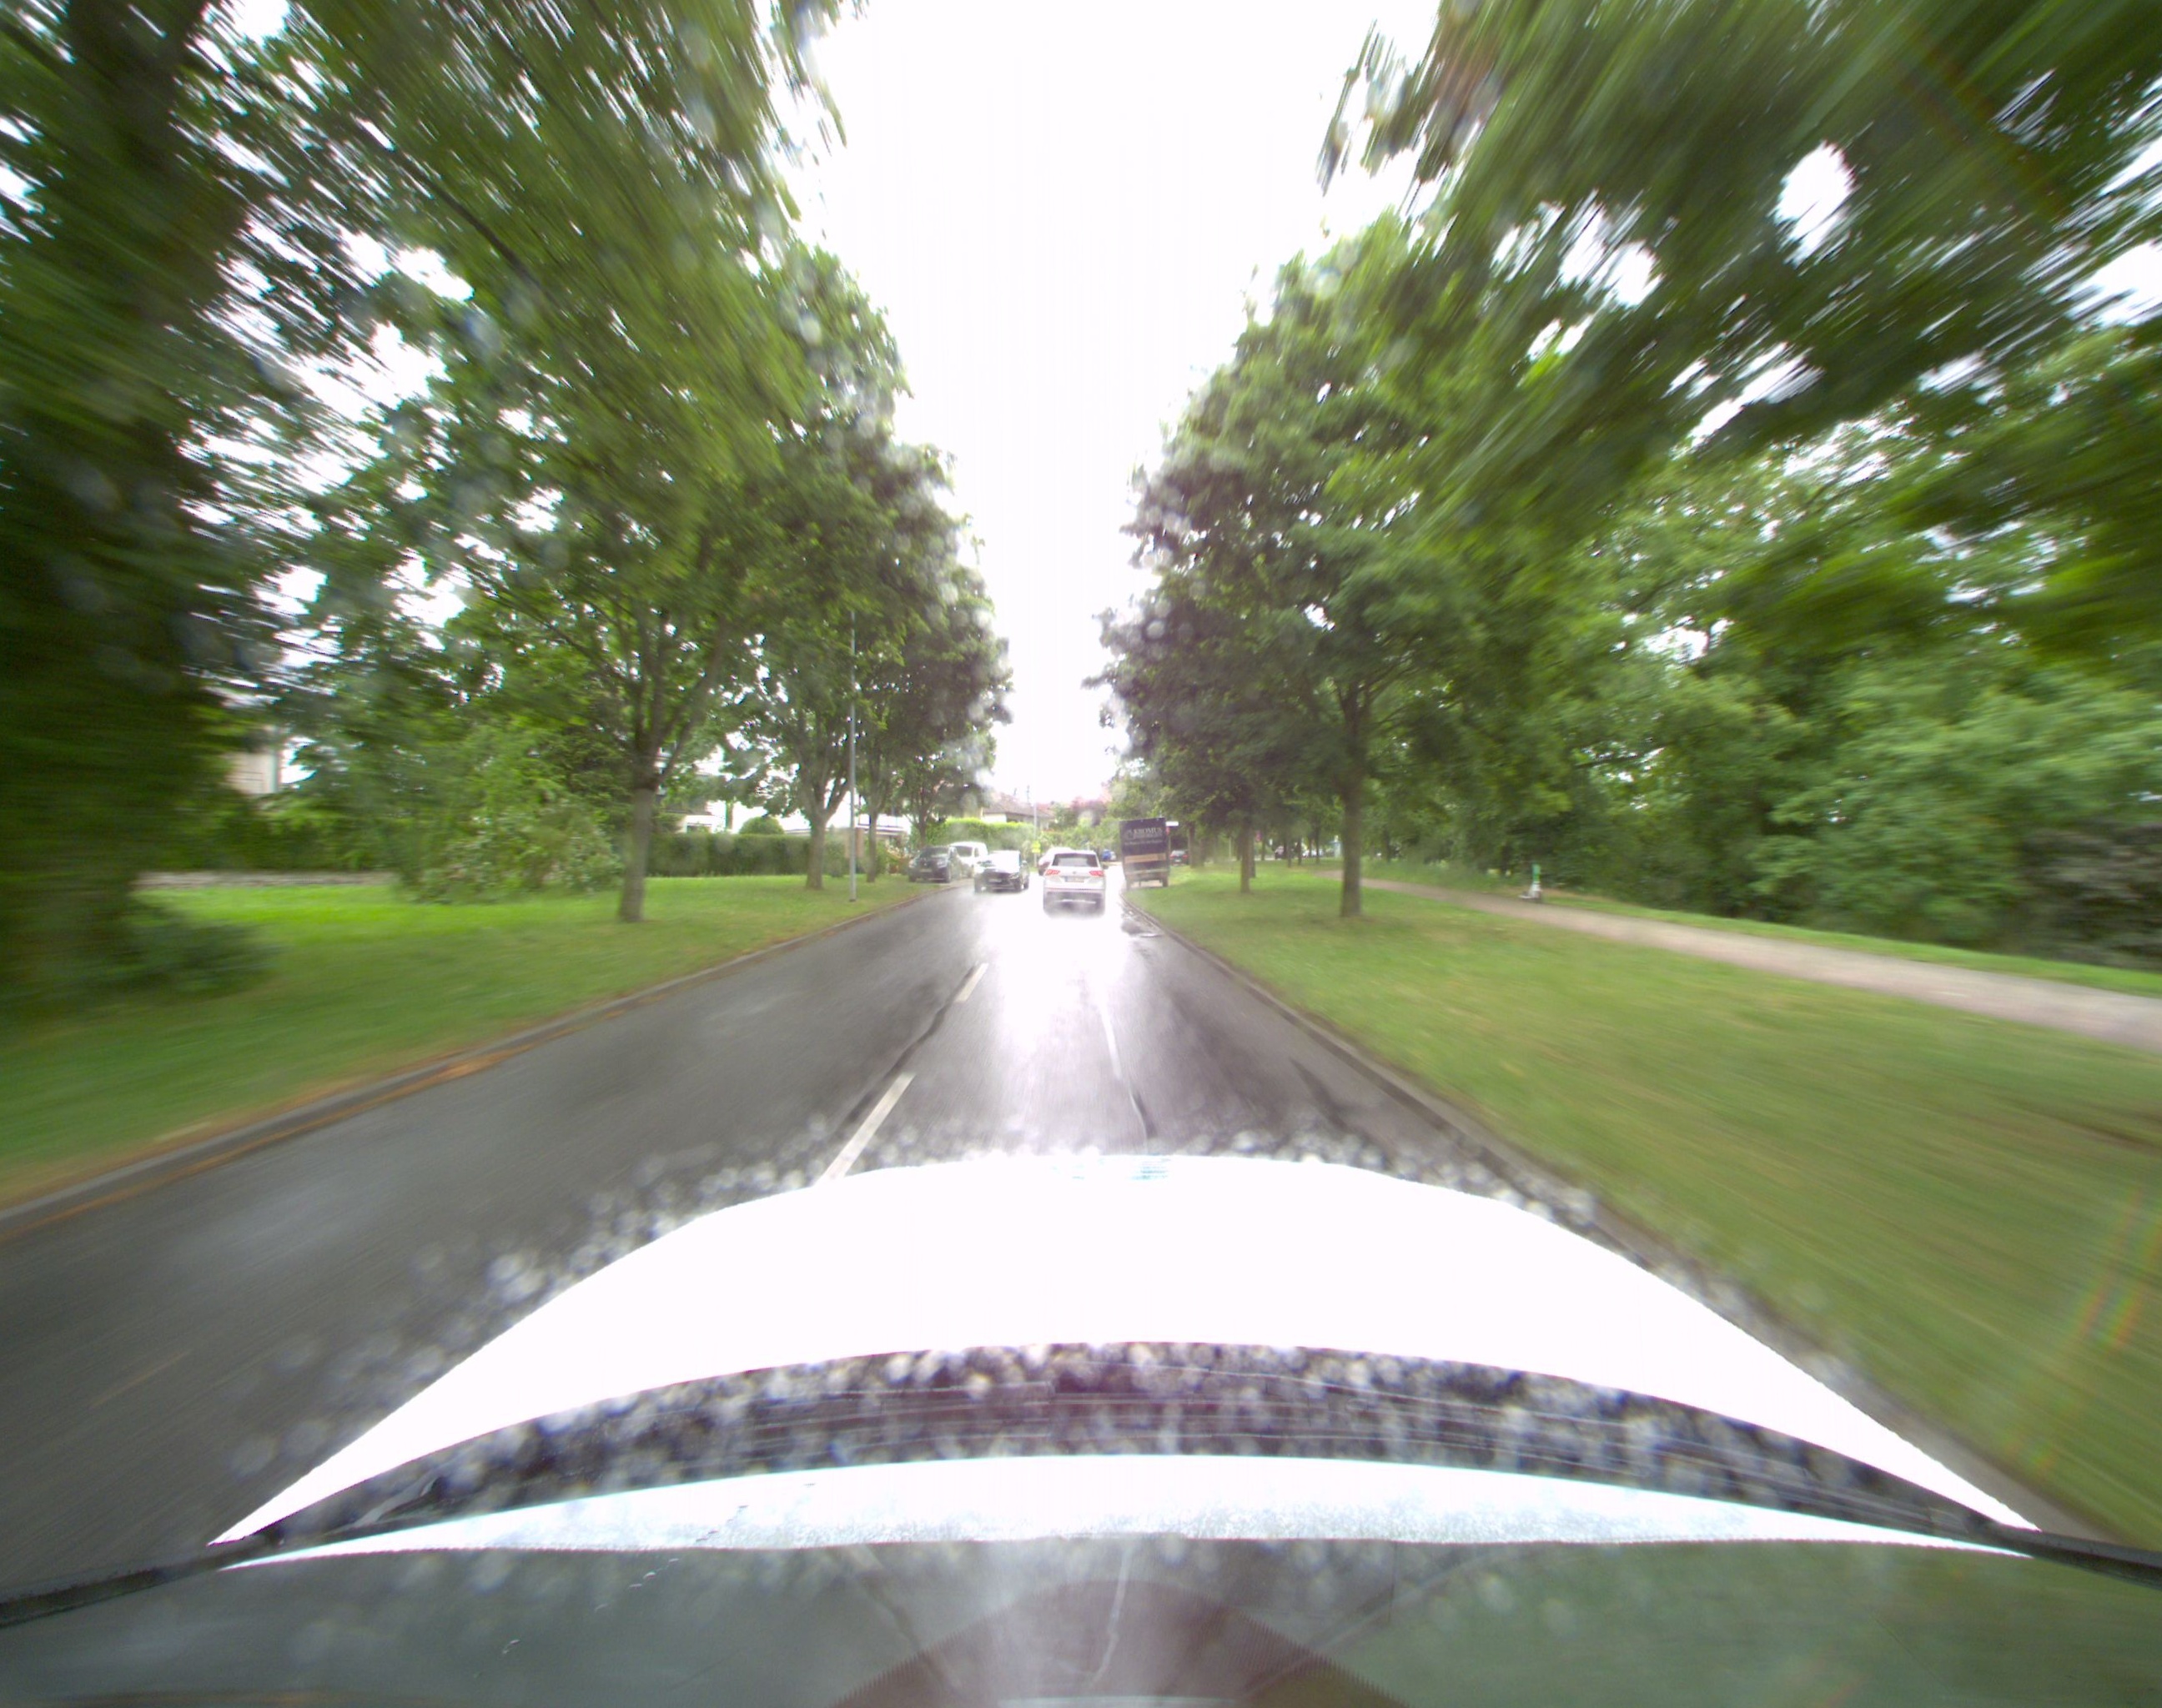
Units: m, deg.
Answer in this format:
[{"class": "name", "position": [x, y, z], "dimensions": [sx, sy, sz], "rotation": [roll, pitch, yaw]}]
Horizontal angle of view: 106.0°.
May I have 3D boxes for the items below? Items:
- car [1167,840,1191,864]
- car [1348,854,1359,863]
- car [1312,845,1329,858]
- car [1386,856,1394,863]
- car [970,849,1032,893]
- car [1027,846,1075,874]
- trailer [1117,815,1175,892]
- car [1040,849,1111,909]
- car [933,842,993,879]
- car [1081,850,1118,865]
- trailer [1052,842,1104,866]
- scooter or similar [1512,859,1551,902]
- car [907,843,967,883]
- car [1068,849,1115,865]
[{"class": "car", "position": [8.831, -0.191, 73.072], "dimensions": [1.889, 2.014, 3.955], "rotation": [2, -1, 10]}, {"class": "car", "position": [56.360, 0.918, 168.135], "dimensions": [1.977, 1.807, 4.019], "rotation": [2, -1, 20]}, {"class": "car", "position": [37.423, -0.388, 127.330], "dimensions": [1.976, 1.804, 4.022], "rotation": [2, -1, 24]}, {"class": "car", "position": [69.359, 1.298, 182.851], "dimensions": [1.410, 1.570, 3.445], "rotation": [2, -1, 17]}, {"class": "car", "position": [-3.116, 0.619, 32.563], "dimensions": [1.782, 1.537, 4.096], "rotation": [2, 1, 4]}, {"class": "car", "position": [-1.818, 0.339, 50.715], "dimensions": [1.839, 1.691, 4.420], "rotation": [1, 0, 13]}, {"class": "trailer", "position": [2.638, -0.009, 34.128], "dimensions": [1.985, 2.808, 5.612], "rotation": [-5, 0, 3]}, {"class": "car", "position": [-0.190, 0.707, 24.628], "dimensions": [1.969, 1.653, 4.174], "rotation": [0, 0, -1]}, {"class": "car", "position": [-6.049, 0.329, 42.172], "dimensions": [1.788, 1.795, 4.383], "rotation": [2, 0, 9]}, {"class": "car", "position": [1.936, 0.330, 84.163], "dimensions": [3.374, 1.519, 1.740], "rotation": [1, 0, 22]}, {"class": "trailer", "position": [-0.296, -0.001, 77.894], "dimensions": [4.580, 2.171, 1.824], "rotation": [1, 0, 21]}, {"class": "scooter or similar", "position": [12.467, 0.707, 22.575], "dimensions": [0.460, 1.147, 1.303], "rotation": [-1, 0, 7]}, {"class": "car", "position": [-6.436, 0.393, 36.930], "dimensions": [1.744, 1.640, 4.593], "rotation": [2, -1, 1]}, {"class": "car", "position": [1.042, 0.313, 81.019], "dimensions": [4.201, 1.539, 2.063], "rotation": [1, 0, 22]}]
